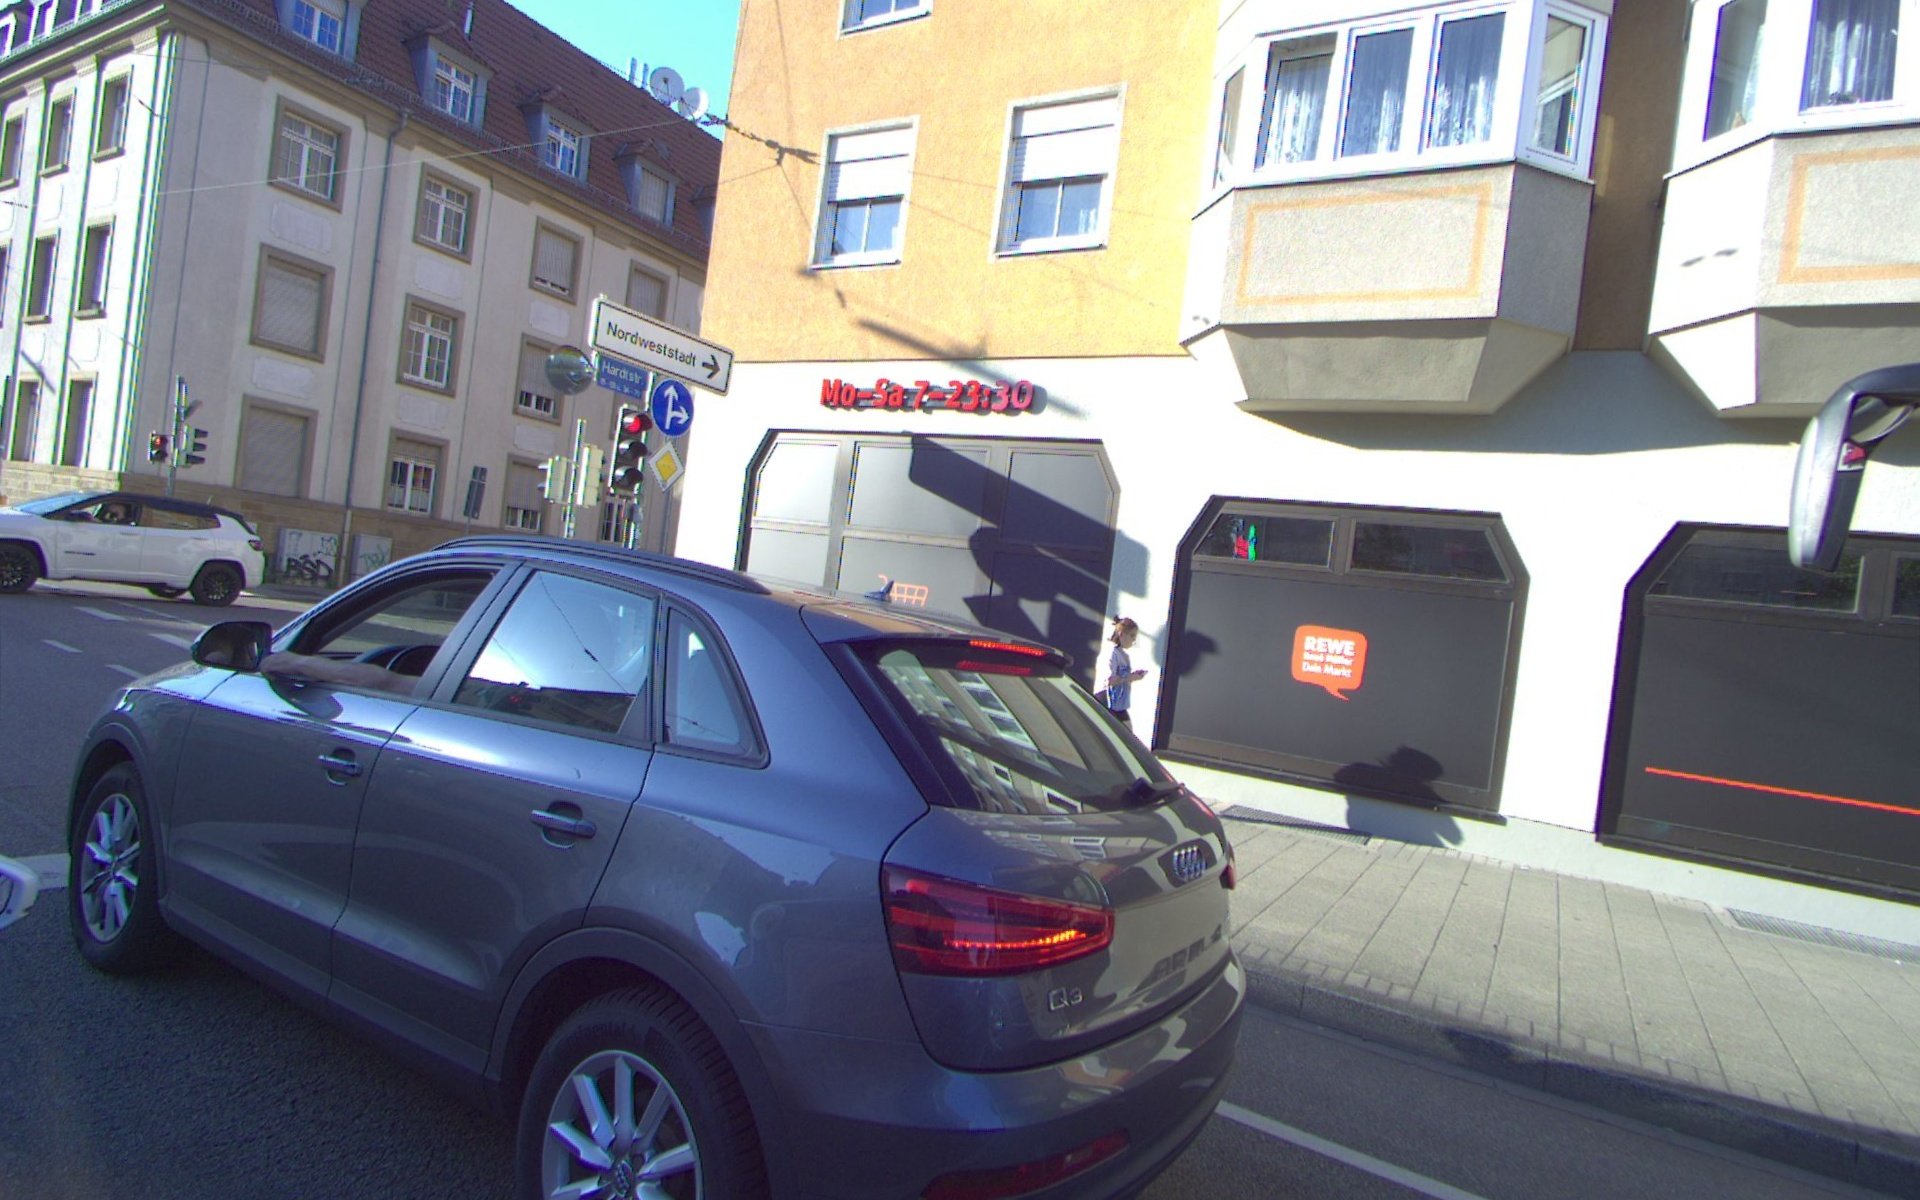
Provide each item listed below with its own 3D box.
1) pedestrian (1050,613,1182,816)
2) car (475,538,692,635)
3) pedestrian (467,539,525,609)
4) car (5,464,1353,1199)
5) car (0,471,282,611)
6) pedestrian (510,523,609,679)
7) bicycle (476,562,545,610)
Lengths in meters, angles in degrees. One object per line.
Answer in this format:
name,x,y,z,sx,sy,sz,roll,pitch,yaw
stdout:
pedestrian,1.309,0.937,8.459,0.817,1.544,0.440,7,1,32
car,-8.796,-0.256,23.906,1.967,1.749,4.467,6,-1,31
pedestrian,-12.298,-0.682,26.687,0.657,1.703,1.038,7,0,31
car,-1.107,0.588,3.211,4.018,1.595,1.772,7,0,32
car,-13.400,-0.918,15.473,1.965,1.660,4.429,7,-1,27
pedestrian,-5.204,0.020,13.077,0.706,1.896,0.694,6,-2,31
bicycle,-12.452,-0.379,27.919,0.657,1.131,1.564,7,0,32
